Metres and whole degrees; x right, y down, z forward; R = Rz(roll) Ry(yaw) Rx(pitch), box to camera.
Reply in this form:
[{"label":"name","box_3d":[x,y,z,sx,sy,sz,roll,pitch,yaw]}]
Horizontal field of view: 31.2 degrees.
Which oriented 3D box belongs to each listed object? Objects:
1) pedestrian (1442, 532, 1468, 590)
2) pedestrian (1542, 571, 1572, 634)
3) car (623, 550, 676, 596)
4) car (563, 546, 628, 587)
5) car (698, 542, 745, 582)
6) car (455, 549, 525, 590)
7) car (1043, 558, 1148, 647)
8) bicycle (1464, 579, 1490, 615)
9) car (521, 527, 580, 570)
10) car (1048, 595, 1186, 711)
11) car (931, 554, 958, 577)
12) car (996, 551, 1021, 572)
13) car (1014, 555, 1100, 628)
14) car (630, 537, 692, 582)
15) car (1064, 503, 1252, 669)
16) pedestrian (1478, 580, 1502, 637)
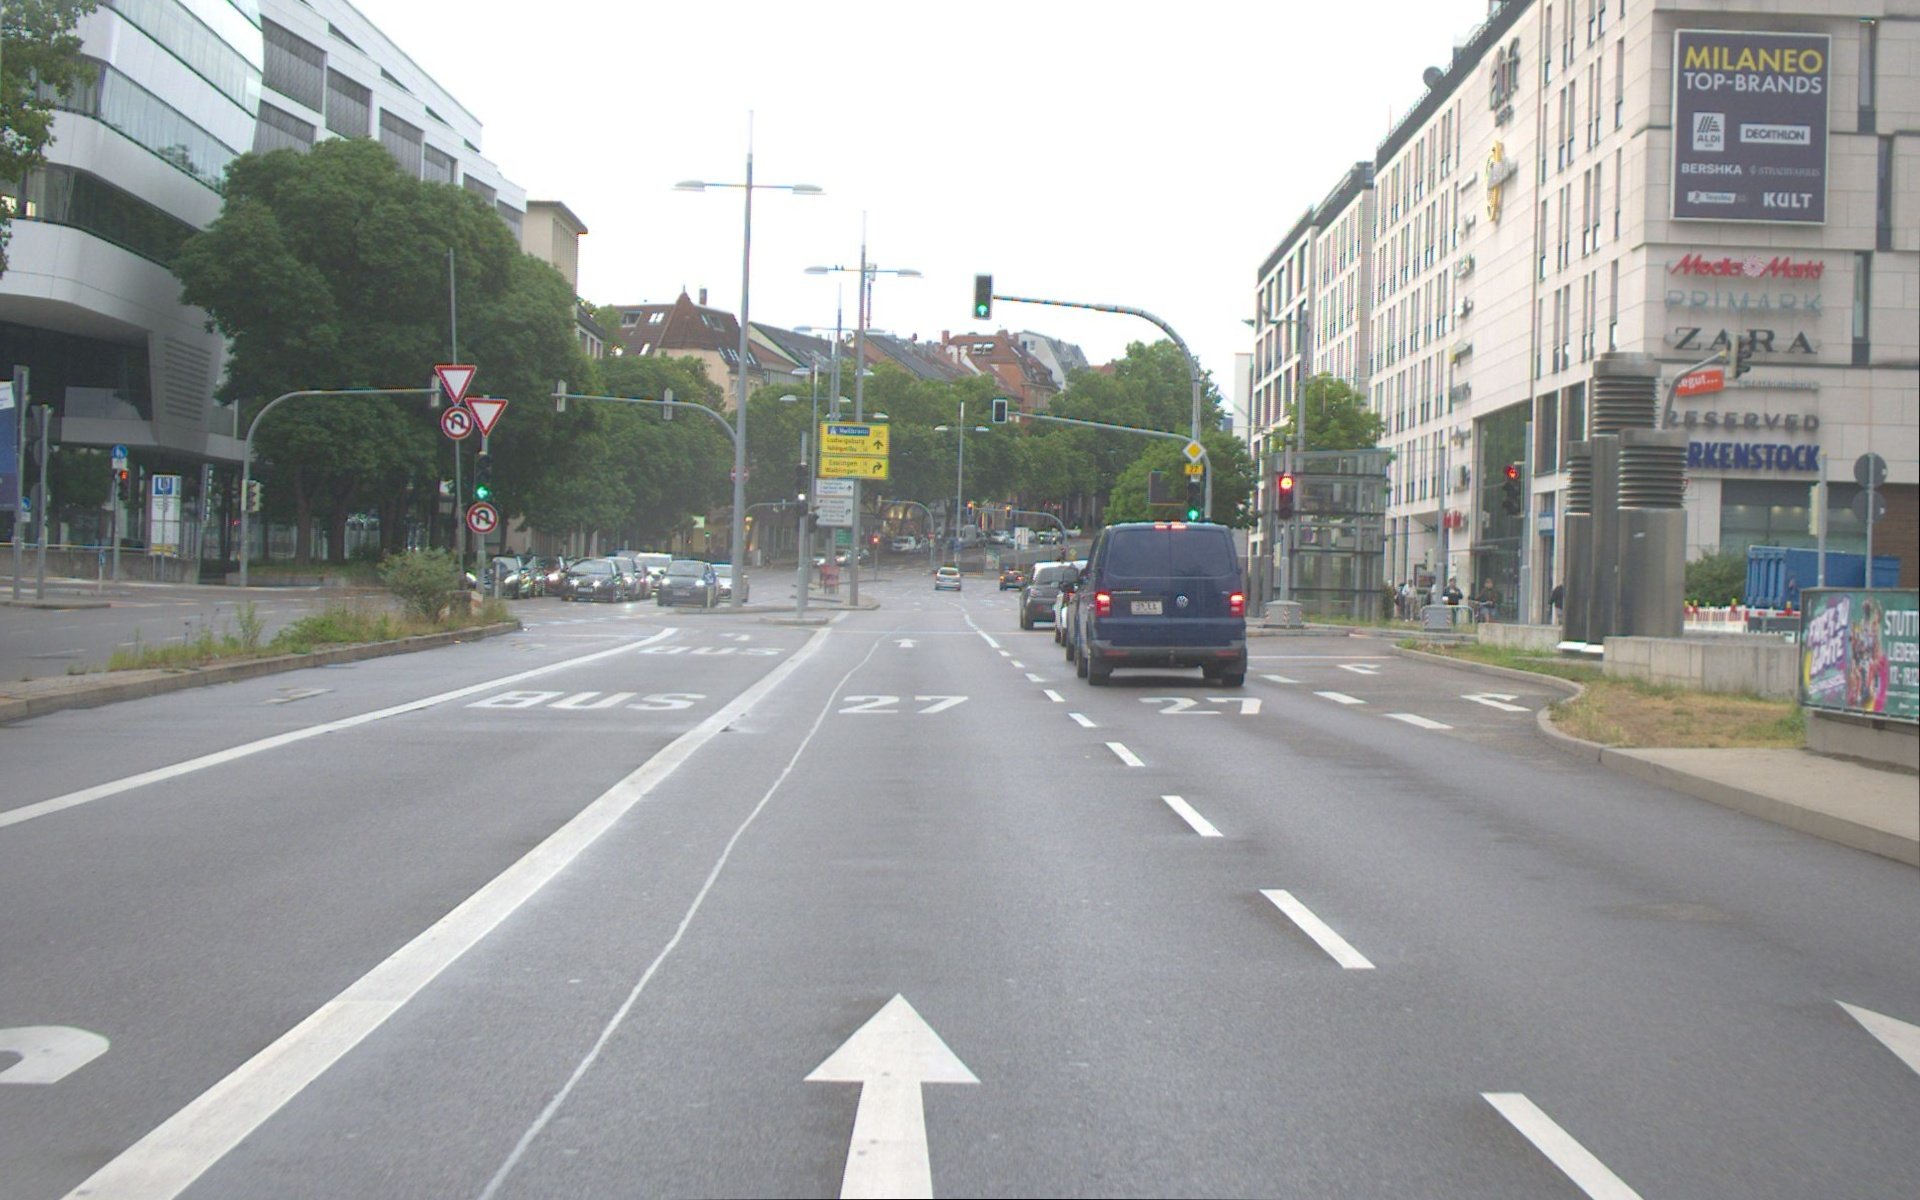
[{"label":"pedestrian","box_3d":[13.925,-1.087,96.718,0.612,1.605,0.819,1,0,0]},{"label":"pedestrian","box_3d":[15.728,0.063,90.527,0.621,1.666,0.824,1,0,0]},{"label":"car","box_3d":[-12.232,-1.067,135.514,1.743,1.742,3.540,1,0,0]},{"label":"car","box_3d":[-12.133,-1.138,114.522,1.743,1.253,3.540,2,2,0]},{"label":"car","box_3d":[-9.047,-1.430,130.535,1.538,1.472,3.696,1,0,0]},{"label":"car","box_3d":[-15.569,-1.007,113.974,1.743,1.324,4.226,1,0,0]},{"label":"car","box_3d":[2.424,0.035,62.193,1.724,1.526,3.814,1,0,0]},{"label":"bicycle","box_3d":[14.558,-0.091,96.799,0.449,1.012,1.742,1,0,0]},{"label":"car","box_3d":[-15.162,-1.905,127.412,1.743,1.553,3.540,1,0,0]},{"label":"car","box_3d":[2.282,0.747,50.882,1.791,1.501,4.339,1,2,0]},{"label":"car","box_3d":[-1.075,-2.420,240.211,1.740,1.526,3.815,1,1,-3]},{"label":"car","box_3d":[3.558,-2.826,252.469,1.740,1.526,3.814,1,0,0]},{"label":"car","box_3d":[2.093,-0.197,74.904,1.740,1.526,3.814,1,0,0]},{"label":"car","box_3d":[-9.844,-1.339,113.419,1.743,1.439,3.395,1,0,0]},{"label":"car","box_3d":[2.410,-0.234,42.978,2.033,1.875,5.042,-2,2,0]},{"label":"pedestrian","box_3d":[14.907,0.233,96.700,0.550,1.605,0.698,1,0,0]}]
